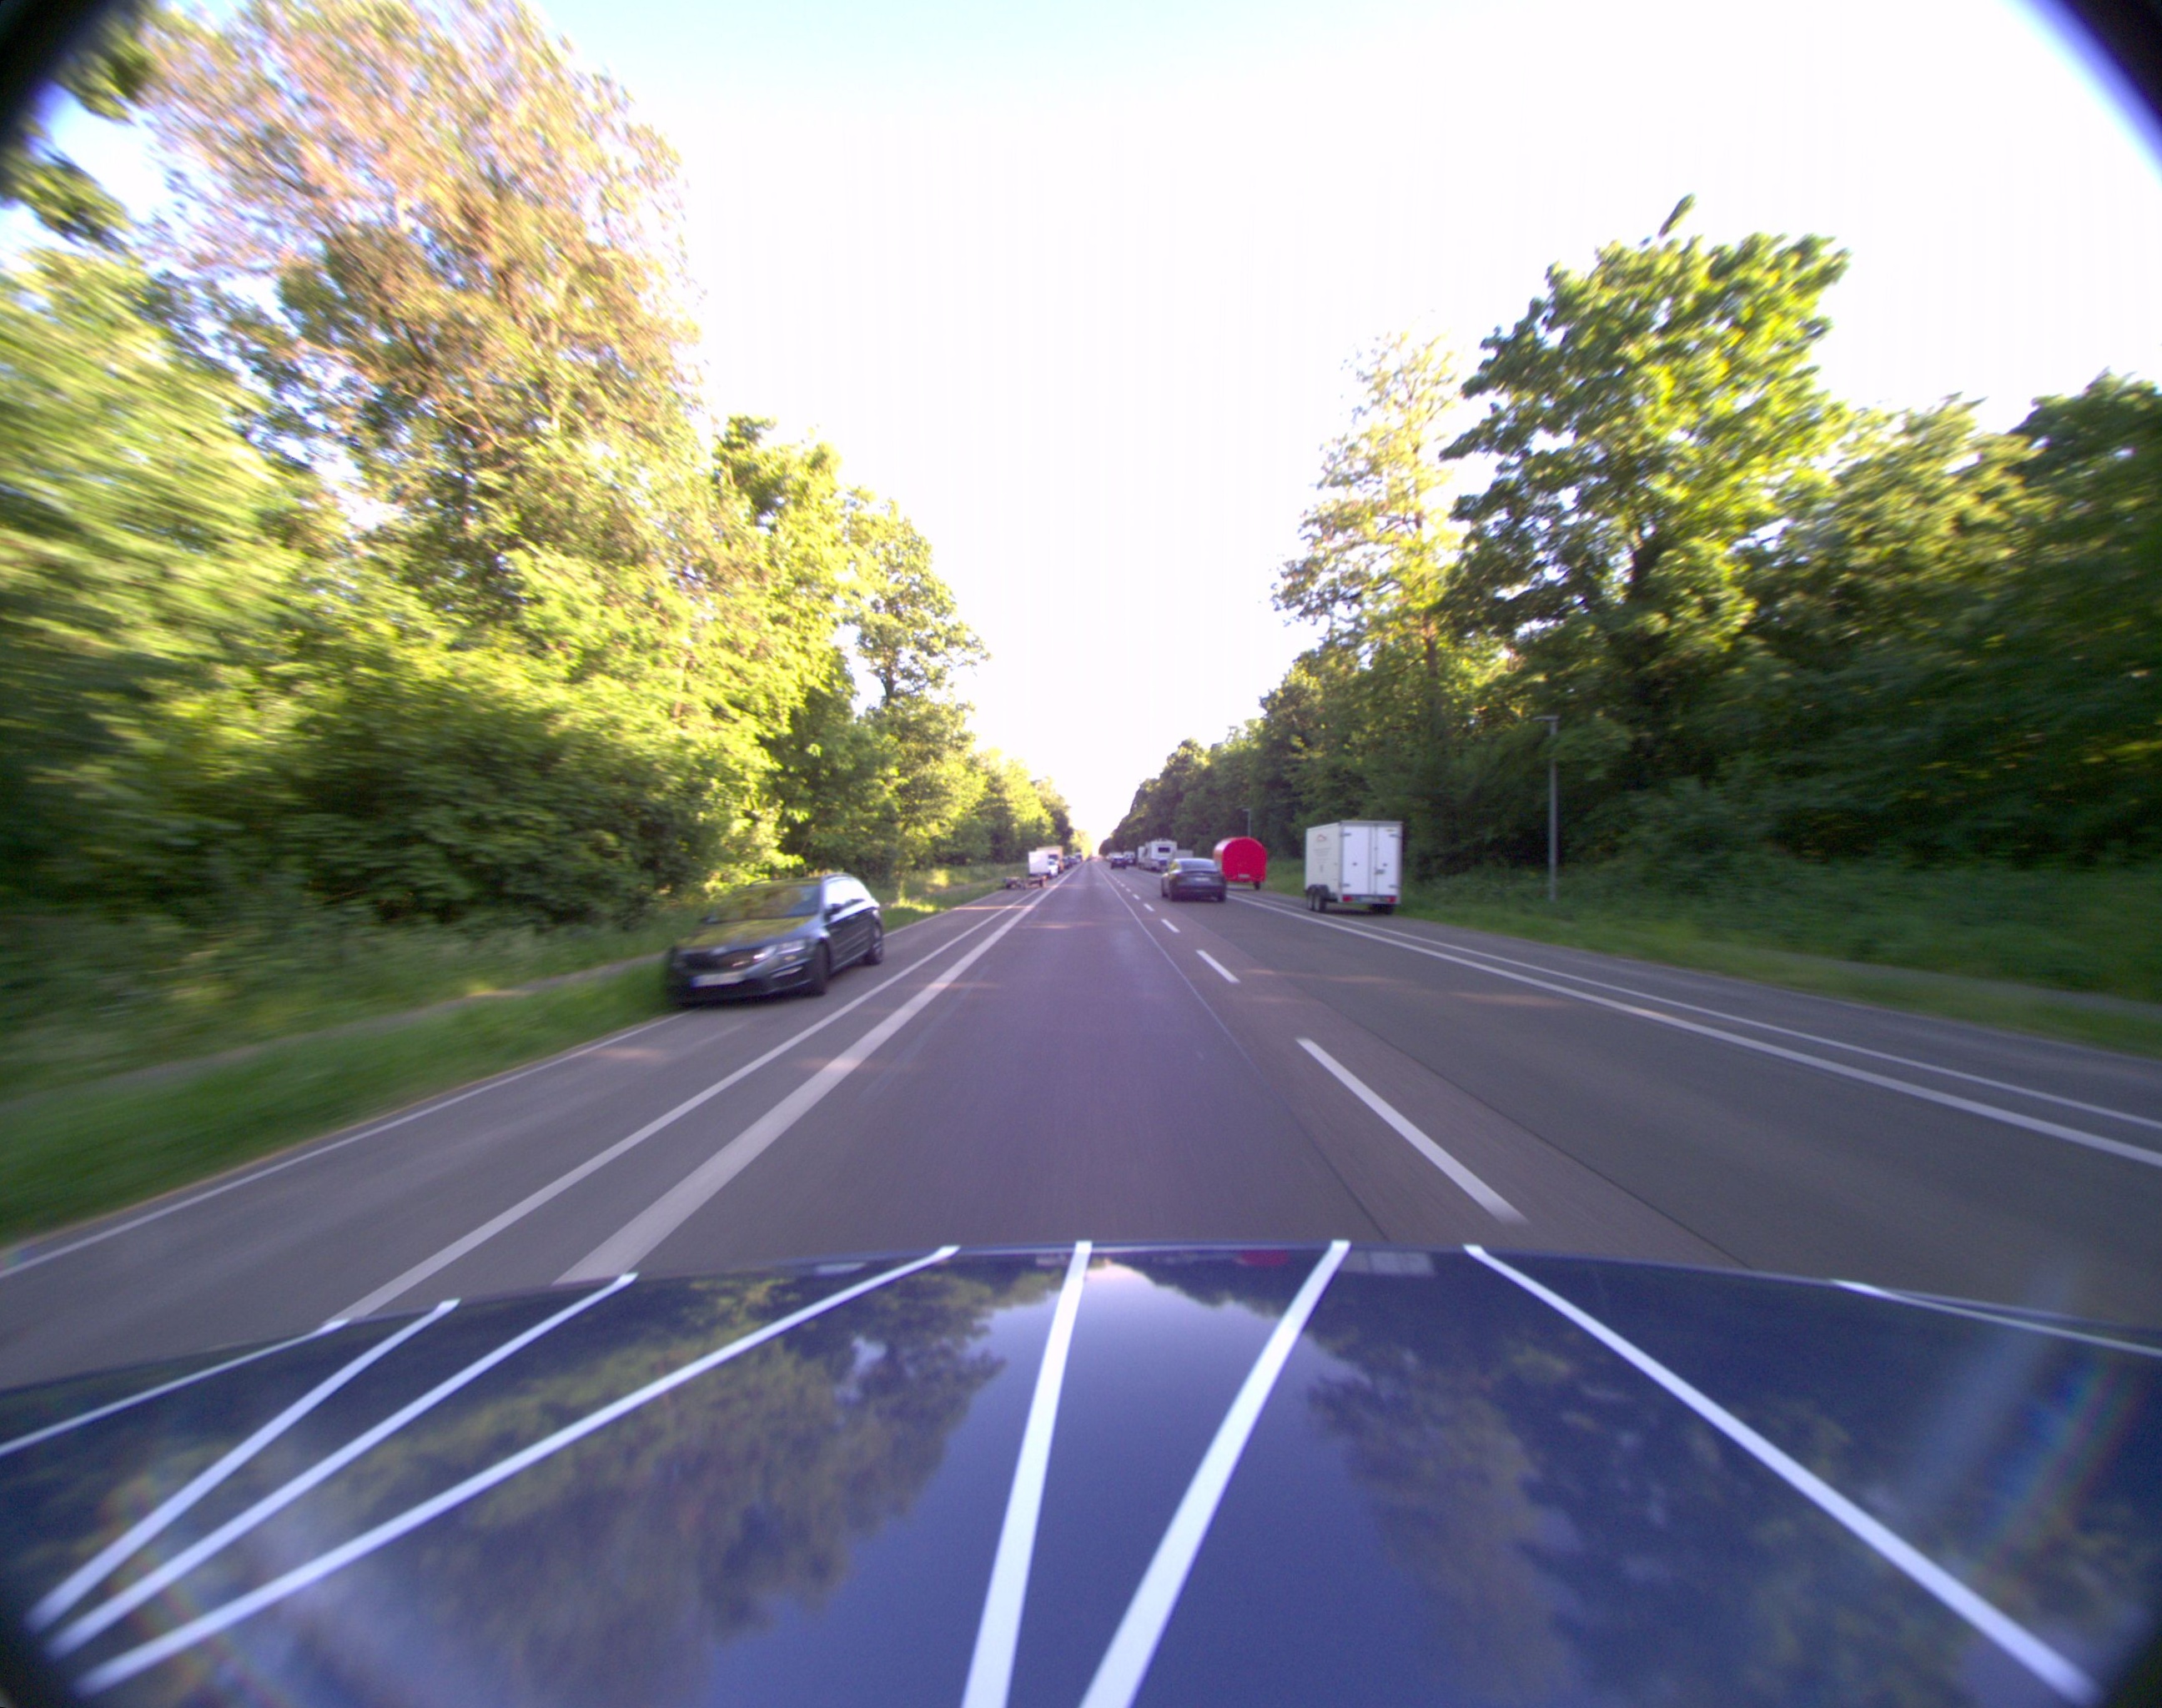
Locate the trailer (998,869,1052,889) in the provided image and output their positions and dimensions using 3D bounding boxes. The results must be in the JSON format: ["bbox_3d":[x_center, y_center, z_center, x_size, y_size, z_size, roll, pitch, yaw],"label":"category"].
[{"bbox_3d":[-2.965,1.322,41.603,2.439,0.794,5.659,-2,0,1],"label":"trailer"}]

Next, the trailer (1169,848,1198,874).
[{"bbox_3d":[8.057,0.541,60.137,1.857,2.002,3.561,2,0,1],"label":"trailer"}]

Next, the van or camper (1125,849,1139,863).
[{"bbox_3d":[9.540,0.372,142.322,2.253,2.599,5.985,-1,0,1],"label":"van or camper"}]

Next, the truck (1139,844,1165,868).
[{"bbox_3d":[8.682,0.206,93.865,2.488,2.807,8.424,-1,0,1],"label":"truck"}]

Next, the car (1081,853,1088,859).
[{"bbox_3d":[1.017,0.691,212.490,1.837,1.608,4.000,-1,0,1],"label":"car"}]

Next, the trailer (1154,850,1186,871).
[{"bbox_3d":[8.582,0.650,73.834,2.434,1.903,6.264,-1,0,1],"label":"trailer"}]

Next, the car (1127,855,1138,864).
[{"bbox_3d":[8.826,0.902,129.868,1.787,1.485,4.002,0,0,5],"label":"car"}]

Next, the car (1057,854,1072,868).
[{"bbox_3d":[-2.076,0.919,97.596,1.804,1.680,4.601,-2,1,1],"label":"car"}]

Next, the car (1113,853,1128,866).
[{"bbox_3d":[4.970,0.707,96.382,1.823,1.577,4.459,0,1,1],"label":"car"}]

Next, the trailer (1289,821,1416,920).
[{"bbox_3d":[7.272,0.410,20.744,2.072,2.466,3.560,0,0,-2],"label":"trailer"}]

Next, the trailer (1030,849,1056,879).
[{"bbox_3d":[-2.788,0.696,56.118,1.758,2.149,3.539,-1,0,0],"label":"trailer"}]

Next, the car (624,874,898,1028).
[{"bbox_3d":[-3.956,1.087,10.384,1.839,1.412,4.596,-4,0,-2],"label":"car"}]

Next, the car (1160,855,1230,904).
[{"bbox_3d":[3.873,0.816,26.471,1.824,1.524,4.530,0,1,1],"label":"car"}]

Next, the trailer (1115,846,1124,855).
[{"bbox_3d":[9.429,-0.829,187.078,1.998,2.227,4.000,-2,1,1],"label":"trailer"}]

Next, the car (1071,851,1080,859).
[{"bbox_3d":[-1.140,0.216,170.104,1.837,1.608,4.000,-1,0,1],"label":"car"}]

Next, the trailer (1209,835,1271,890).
[{"bbox_3d":[7.450,0.399,35.995,2.072,2.466,3.560,0,0,-2],"label":"trailer"}]

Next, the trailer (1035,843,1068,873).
[{"bbox_3d":[-2.941,0.349,78.729,2.928,2.825,9.882,-4,1,0],"label":"trailer"}]

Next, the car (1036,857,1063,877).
[{"bbox_3d":[-2.550,1.024,62.056,1.892,1.459,4.569,-2,0,1],"label":"car"}]

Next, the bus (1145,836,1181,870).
[{"bbox_3d":[8.774,-0.141,82.592,2.835,3.411,11.199,-2,1,1],"label":"bus"}]

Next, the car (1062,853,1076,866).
[{"bbox_3d":[-1.918,0.842,121.683,1.998,1.888,5.473,-1,0,1],"label":"car"}]
